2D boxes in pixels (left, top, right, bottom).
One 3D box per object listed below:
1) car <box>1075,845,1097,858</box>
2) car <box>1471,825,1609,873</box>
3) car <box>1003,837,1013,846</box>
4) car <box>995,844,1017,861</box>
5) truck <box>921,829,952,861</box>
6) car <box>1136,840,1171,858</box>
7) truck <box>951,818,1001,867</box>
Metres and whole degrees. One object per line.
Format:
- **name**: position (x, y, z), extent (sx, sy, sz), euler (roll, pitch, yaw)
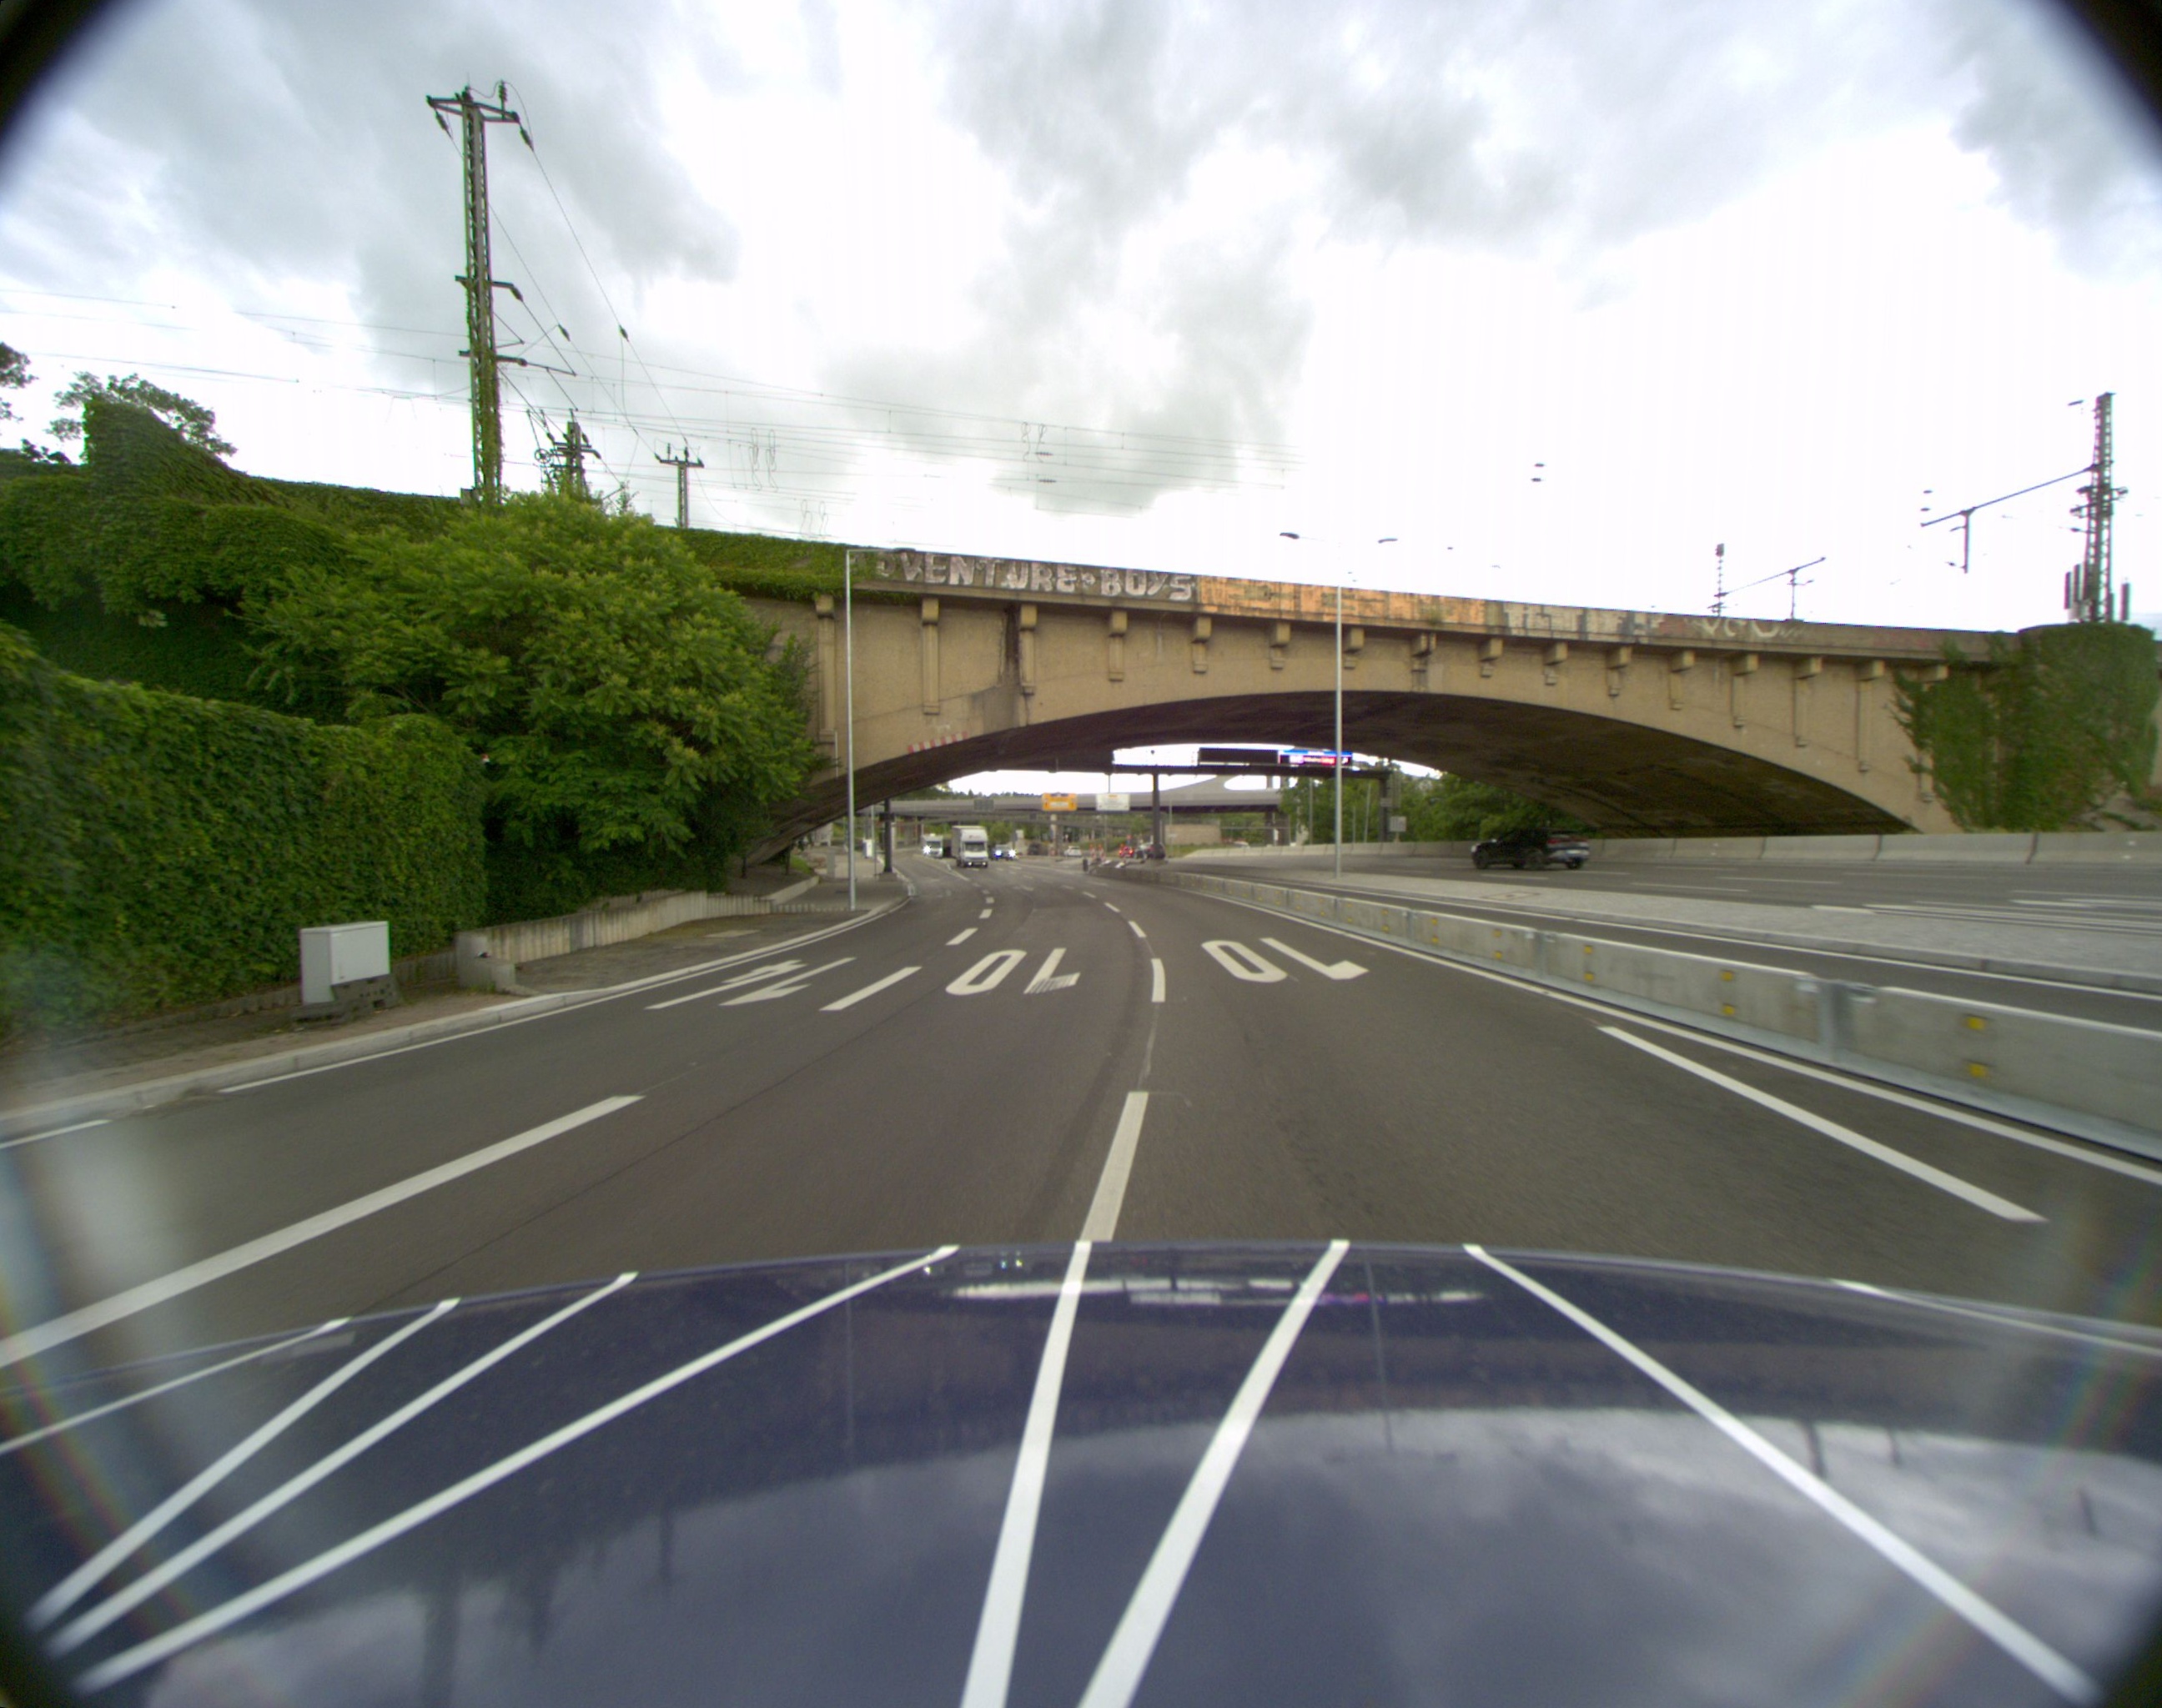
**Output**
- **car**: position (0.600, -0.382, 97.556), extent (1.844, 1.528, 4.395), euler (-3, 1, -12)
- **car**: position (16.466, -0.151, 27.543), extent (2.000, 1.575, 4.132), euler (-1, 0, -11)
- **car**: position (-13.869, -2.318, 144.375), extent (1.641, 1.456, 3.996), euler (-5, 1, -9)
- **car**: position (-8.204, -0.169, 83.122), extent (1.869, 1.827, 4.201), euler (-2, 1, -12)
- **truck**: position (-17.420, -1.074, 91.230), extent (2.577, 3.548, 9.101), euler (-2, 1, -17)
- **car**: position (6.602, -0.499, 69.518), extent (1.824, 1.528, 4.395), euler (-3, 1, -13)
- **truck**: position (-8.862, -0.876, 63.151), extent (3.035, 3.567, 8.940), euler (-5, 1, -13)
